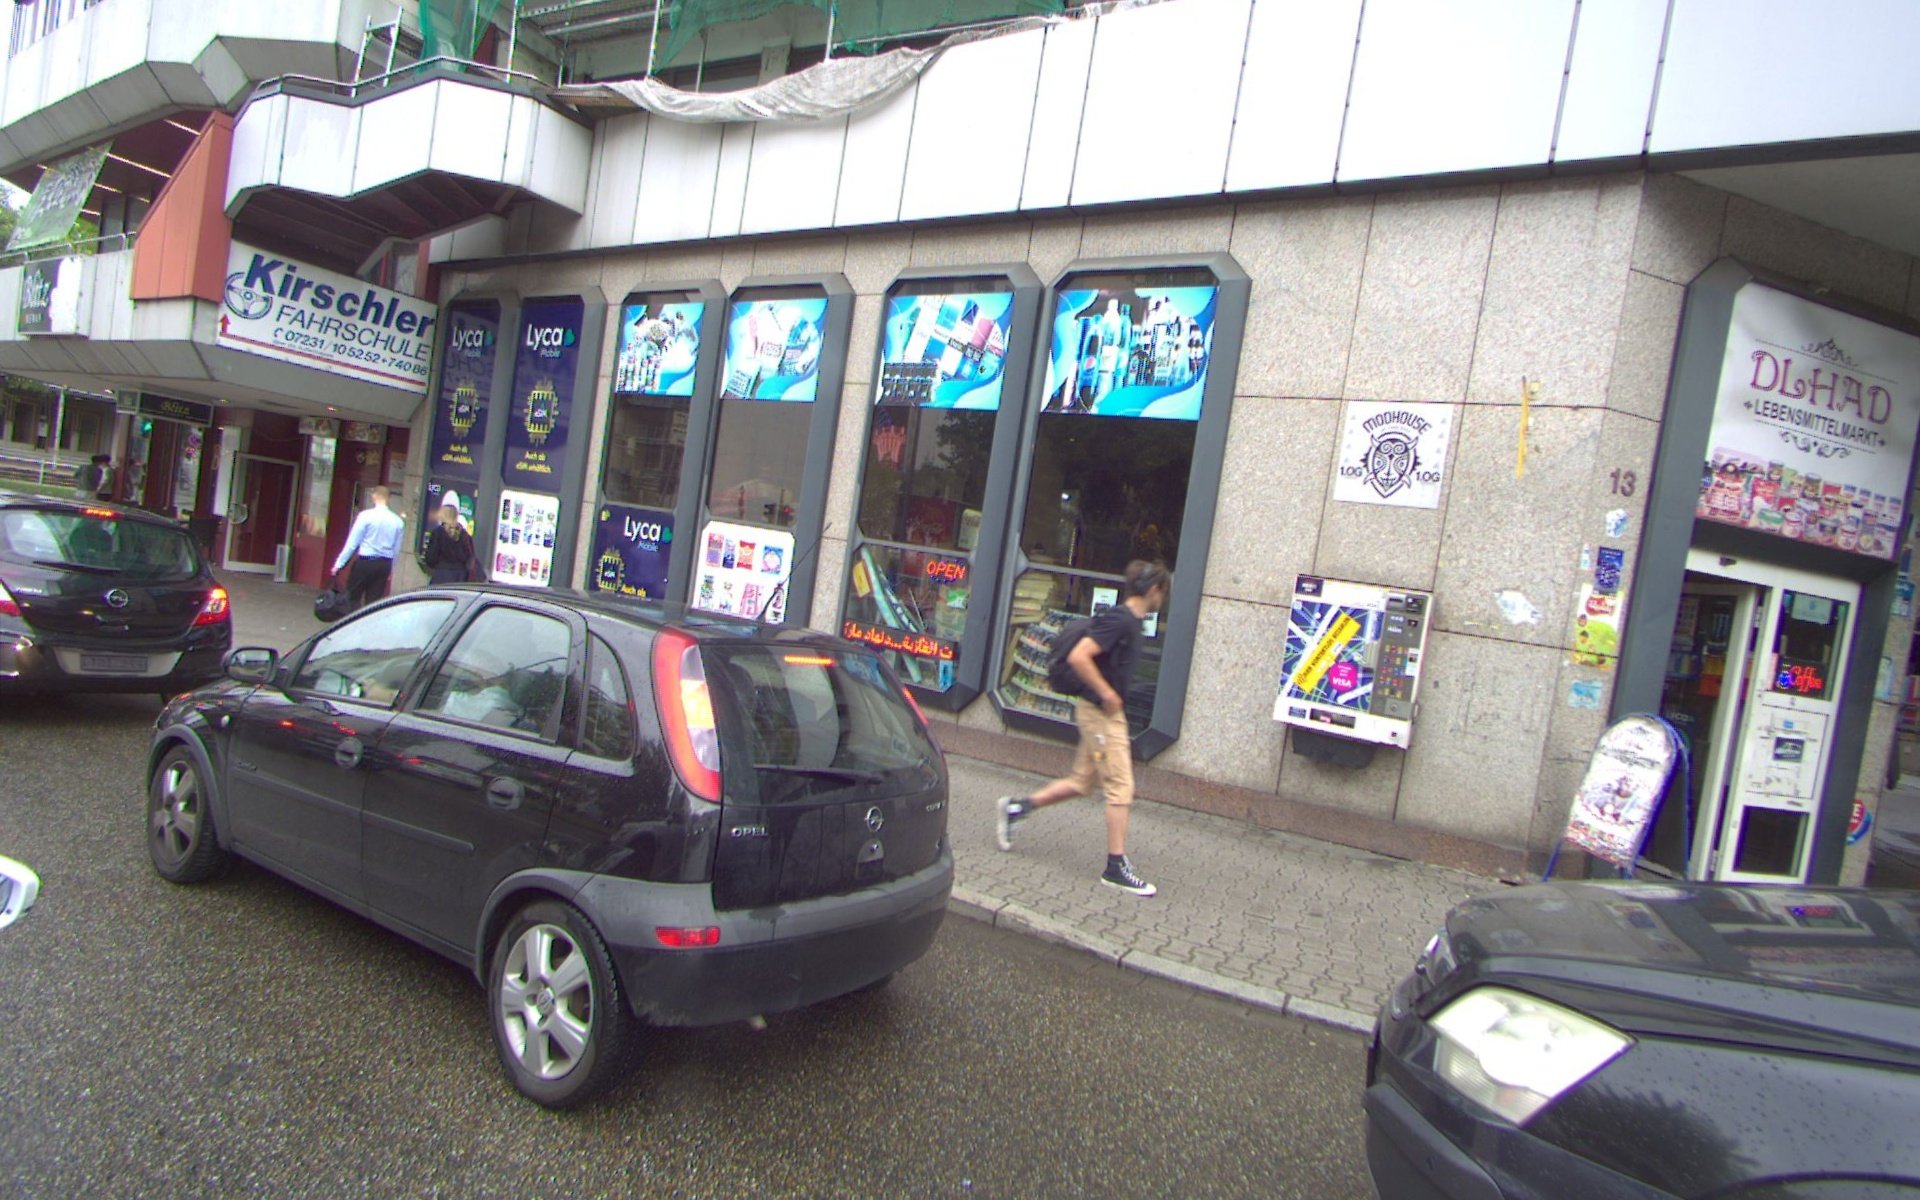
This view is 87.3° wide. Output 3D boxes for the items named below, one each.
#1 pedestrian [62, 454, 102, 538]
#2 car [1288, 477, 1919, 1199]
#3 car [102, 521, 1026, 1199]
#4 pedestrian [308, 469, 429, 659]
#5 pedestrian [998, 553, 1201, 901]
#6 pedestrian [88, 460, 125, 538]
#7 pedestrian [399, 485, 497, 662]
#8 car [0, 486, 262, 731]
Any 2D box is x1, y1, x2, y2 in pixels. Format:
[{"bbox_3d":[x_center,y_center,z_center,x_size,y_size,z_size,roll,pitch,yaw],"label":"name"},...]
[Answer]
[{"bbox_3d":[-18.679,-2.207,21.394,0.443,1.704,0.426,6,1,30],"label":"pedestrian"},{"bbox_3d":[2.804,0.982,1.436,4.095,1.786,1.763,8,-1,32],"label":"car"},{"bbox_3d":[-1.750,0.649,4.101,3.563,1.446,1.609,8,-1,33],"label":"car"},{"bbox_3d":[-6.461,-0.382,11.004,0.629,1.957,0.737,6,-1,31],"label":"pedestrian"},{"bbox_3d":[0.814,0.682,5.890,0.763,1.841,0.739,7,4,43],"label":"pedestrian"},{"bbox_3d":[-18.647,-2.205,21.987,0.496,1.660,0.396,6,1,32],"label":"pedestrian"},{"bbox_3d":[-5.969,-0.306,11.729,0.629,1.961,0.736,6,4,31],"label":"pedestrian"},{"bbox_3d":[-7.085,-0.108,7.366,3.776,1.446,1.620,8,-1,29],"label":"car"}]
